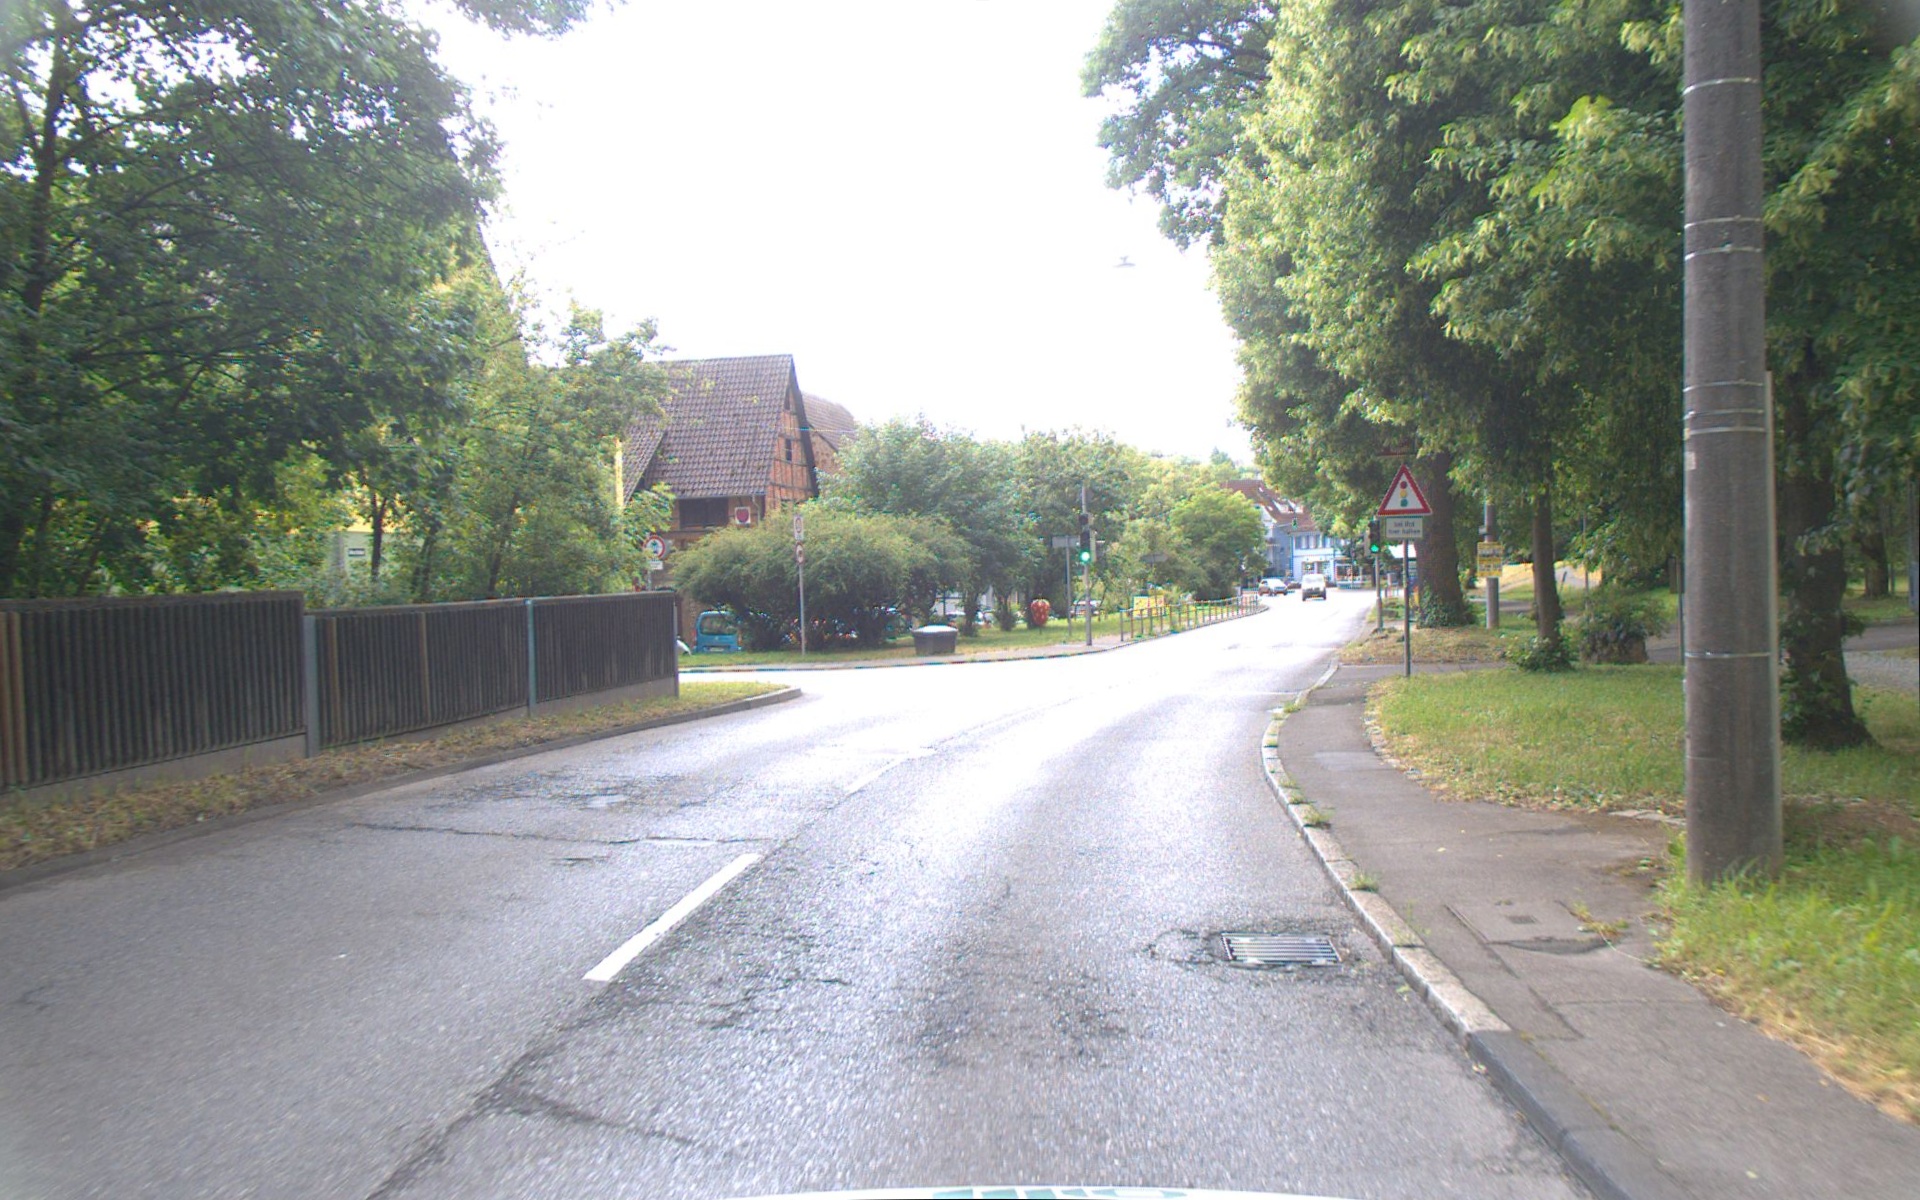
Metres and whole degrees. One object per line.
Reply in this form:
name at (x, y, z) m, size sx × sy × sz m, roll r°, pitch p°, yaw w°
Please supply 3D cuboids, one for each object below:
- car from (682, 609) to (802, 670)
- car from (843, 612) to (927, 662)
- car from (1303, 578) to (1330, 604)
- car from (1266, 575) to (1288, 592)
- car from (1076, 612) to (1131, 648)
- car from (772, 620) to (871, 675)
car at (-6.723, 1.197, 51.505) m, size 1.952 × 1.646 × 4.450 m, roll -4°, pitch 0°, yaw 17°
car at (-2.784, 1.381, 62.210) m, size 1.773 × 1.646 × 4.002 m, roll -4°, pitch 0°, yaw 18°
car at (27.815, -0.734, 128.905) m, size 1.806 × 1.964 × 4.773 m, roll -2°, pitch 0°, yaw 15°
car at (30.227, -1.586, 157.894) m, size 1.668 × 1.538 × 4.003 m, roll -4°, pitch 0°, yaw 15°
car at (7.875, 1.622, 90.368) m, size 1.881 × 1.724 × 4.001 m, roll -3°, pitch 0°, yaw 21°
car at (-4.746, 1.614, 57.222) m, size 1.907 × 1.646 × 4.002 m, roll -4°, pitch 0°, yaw 18°
